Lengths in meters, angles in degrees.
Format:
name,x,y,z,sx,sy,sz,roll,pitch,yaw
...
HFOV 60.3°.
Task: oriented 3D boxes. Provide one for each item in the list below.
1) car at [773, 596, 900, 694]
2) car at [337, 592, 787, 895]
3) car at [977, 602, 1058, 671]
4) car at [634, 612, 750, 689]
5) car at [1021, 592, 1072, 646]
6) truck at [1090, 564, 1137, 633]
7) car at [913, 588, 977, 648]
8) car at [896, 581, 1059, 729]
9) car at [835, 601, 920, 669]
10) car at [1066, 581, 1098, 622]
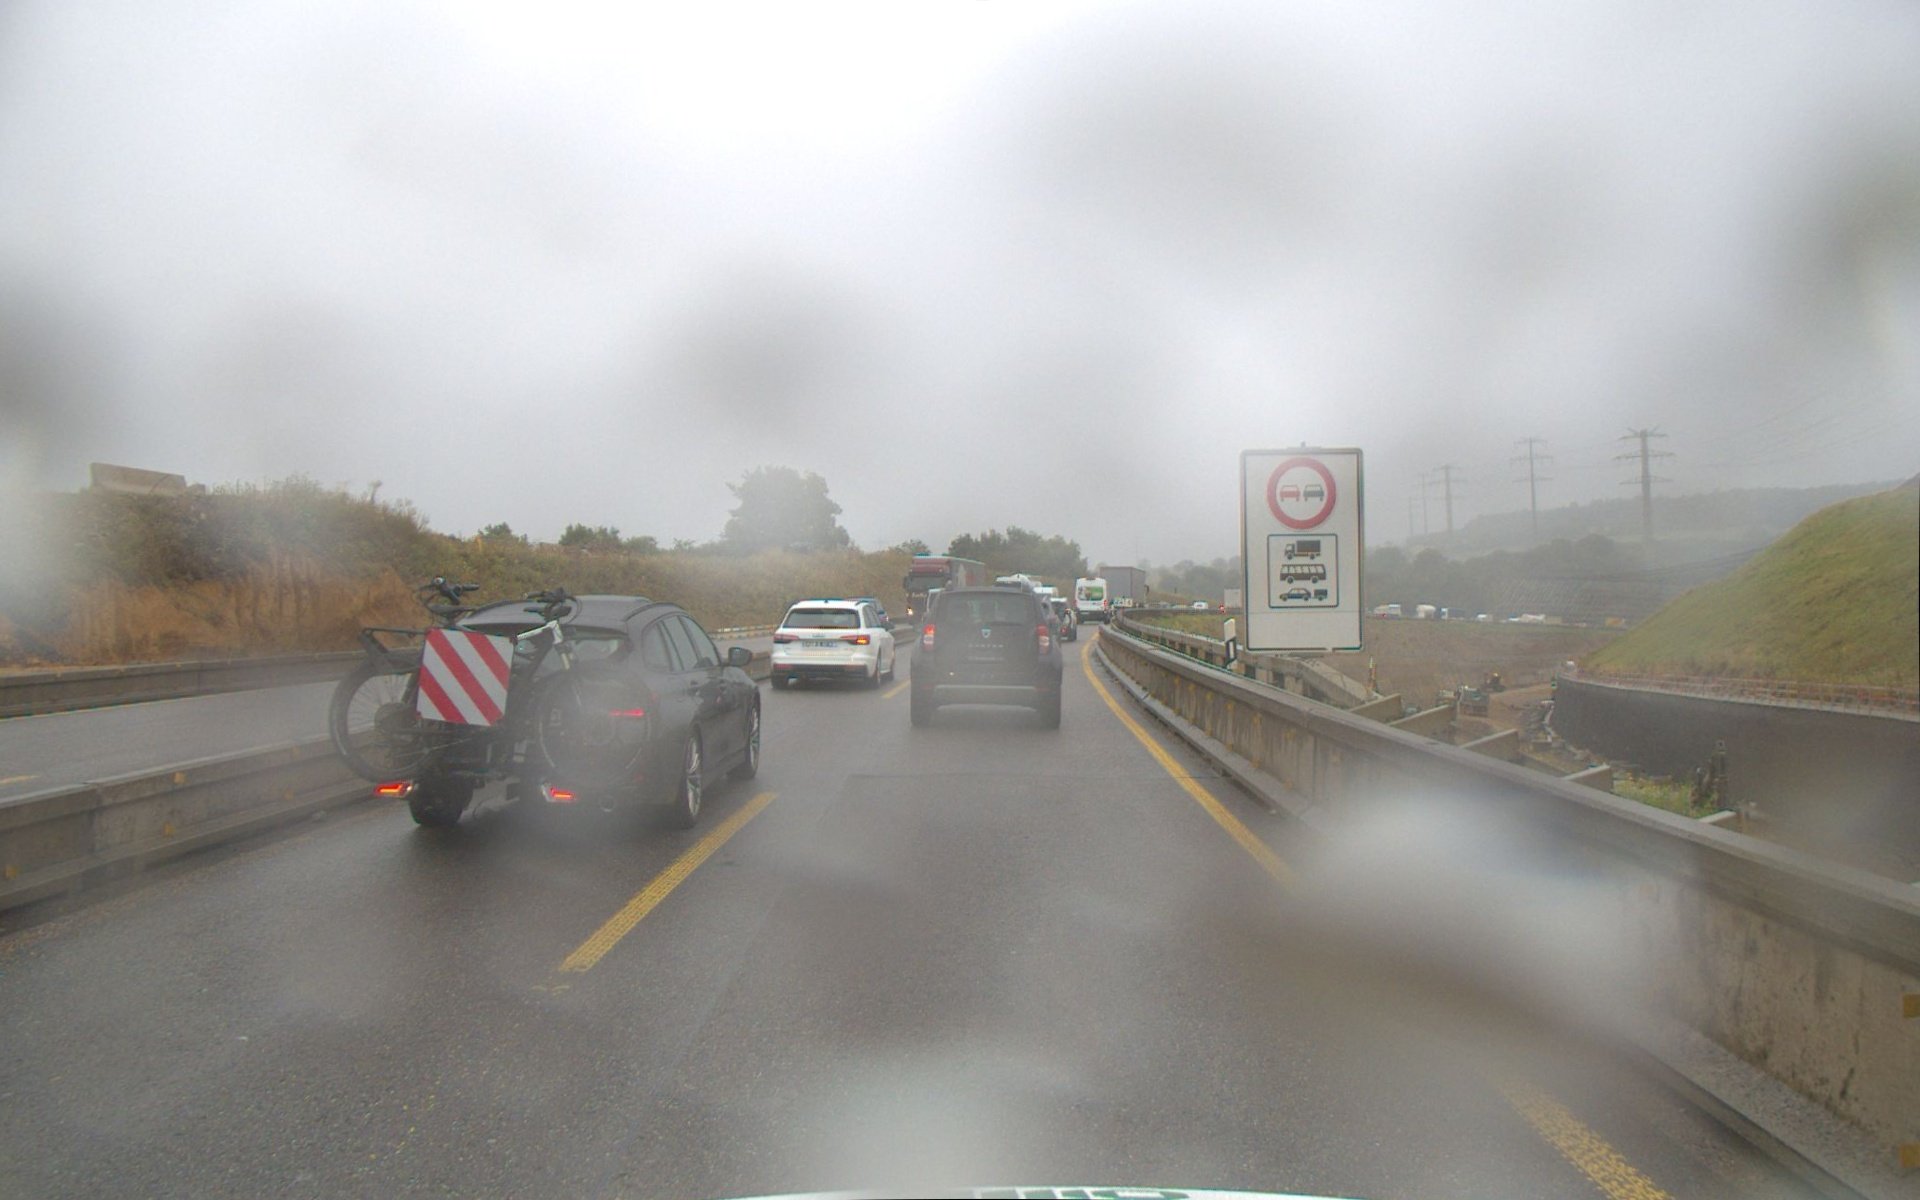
name,x,y,z,sx,sy,sz,roll,pitch,yaw
car,-2.007,0.723,27.944,1.789,1.525,4.000,1,-1,0
car,-2.448,0.763,11.754,1.699,1.488,5.631,0,2,1
car,1.314,0.841,39.046,1.789,1.525,4.000,1,-1,0
car,-5.327,0.973,33.271,1.547,1.407,4.001,0,0,2
car,3.100,0.681,59.800,1.788,1.847,4.001,1,-1,2
truck,12.132,-0.045,129.860,3.468,5.166,10.448,1,-1,6
car,-0.448,0.576,53.678,1.788,1.847,4.001,1,-1,3
car,0.213,0.628,20.317,1.789,1.619,4.000,1,-1,1
car,-1.915,0.820,39.542,1.789,1.525,4.000,1,-1,0
car,7.559,0.094,102.514,1.787,2.480,4.160,1,-1,6
